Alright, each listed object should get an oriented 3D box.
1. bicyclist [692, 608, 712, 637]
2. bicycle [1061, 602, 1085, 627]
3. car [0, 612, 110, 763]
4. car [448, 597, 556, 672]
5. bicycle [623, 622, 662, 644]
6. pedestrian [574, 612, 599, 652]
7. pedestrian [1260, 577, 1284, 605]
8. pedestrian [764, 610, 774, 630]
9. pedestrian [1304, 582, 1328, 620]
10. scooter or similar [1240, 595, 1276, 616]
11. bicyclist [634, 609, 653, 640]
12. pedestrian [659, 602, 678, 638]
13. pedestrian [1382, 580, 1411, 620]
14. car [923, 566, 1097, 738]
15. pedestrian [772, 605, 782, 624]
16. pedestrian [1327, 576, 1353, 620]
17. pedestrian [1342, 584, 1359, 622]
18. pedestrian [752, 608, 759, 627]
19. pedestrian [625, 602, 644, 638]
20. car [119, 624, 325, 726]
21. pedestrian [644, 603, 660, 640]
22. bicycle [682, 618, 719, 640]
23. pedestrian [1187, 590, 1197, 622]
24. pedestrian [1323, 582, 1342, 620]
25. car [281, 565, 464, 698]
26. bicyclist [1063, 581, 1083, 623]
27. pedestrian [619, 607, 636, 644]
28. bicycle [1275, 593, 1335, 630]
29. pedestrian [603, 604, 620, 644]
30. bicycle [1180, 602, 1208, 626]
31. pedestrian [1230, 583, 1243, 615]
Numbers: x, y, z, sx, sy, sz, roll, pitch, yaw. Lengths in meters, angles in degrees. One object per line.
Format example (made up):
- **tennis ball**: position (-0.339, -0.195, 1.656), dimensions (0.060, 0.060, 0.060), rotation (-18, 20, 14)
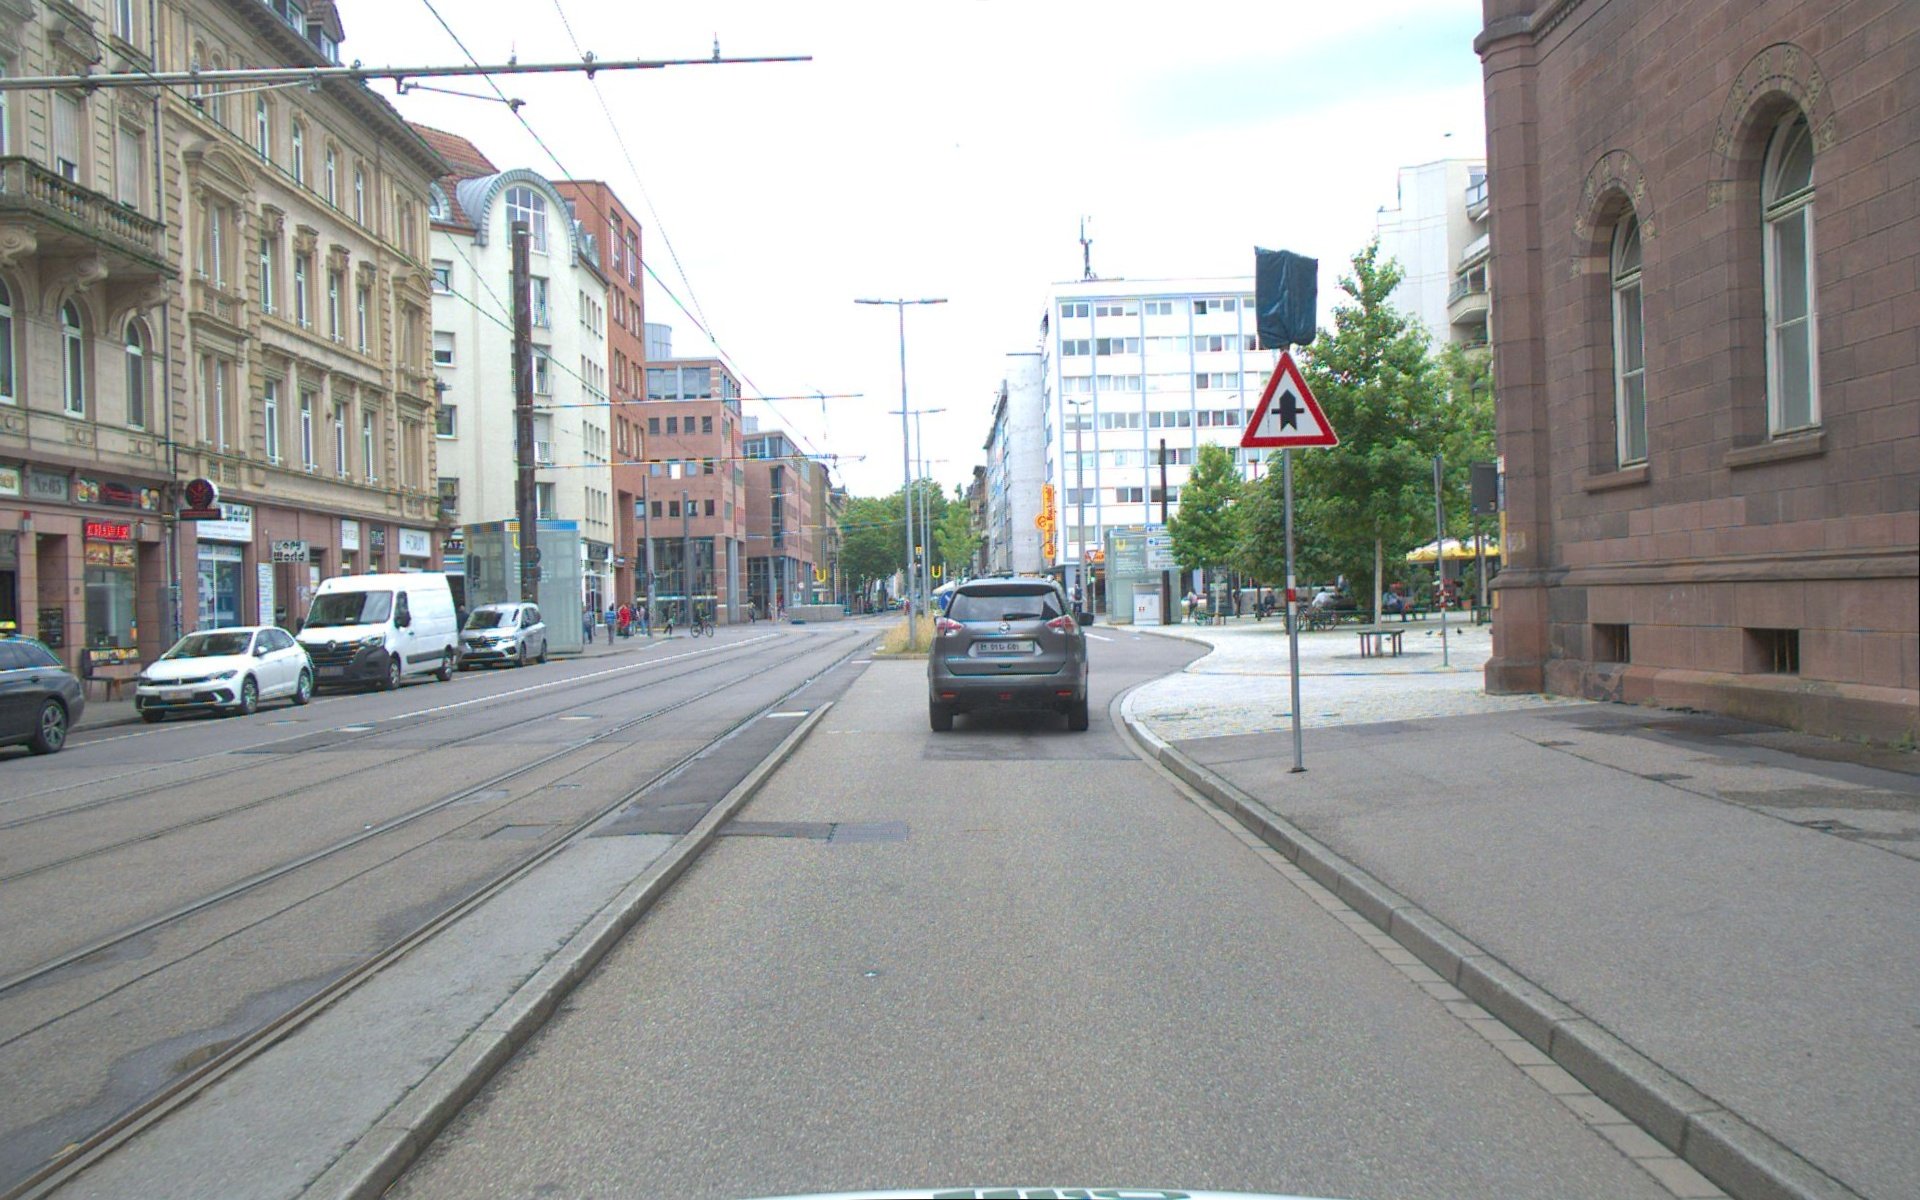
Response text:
- **bicyclist**: position (-13.084, 1.145, 83.897), dimensions (0.793, 1.431, 0.480), rotation (-3, -1, 25)
- **bicycle**: position (5.007, 0.644, 73.366), dimensions (0.883, 1.063, 3.278), rotation (-2, 0, 1)
- **car**: position (-11.919, 1.074, 18.895), dimensions (1.881, 1.718, 5.049), rotation (-4, 0, -3)
- **car**: position (-12.872, 0.930, 46.760), dimensions (1.865, 1.897, 4.518), rotation (-4, 0, -3)
- **bicycle**: position (-16.467, 1.717, 85.773), dimensions (1.867, 1.039, 0.478), rotation (-2, 0, 1)
- **pedestrian**: position (-16.422, 1.393, 72.817), dimensions (0.705, 1.716, 0.825), rotation (-3, -2, 17)
- **pedestrian**: position (15.559, -0.441, 82.389), dimensions (1.022, 1.319, 0.733), rotation (-4, -1, 4)
- **pedestrian**: position (-18.261, 1.945, 158.101), dimensions (0.723, 1.874, 0.697), rotation (-1, -1, -26)
- **pedestrian**: position (13.201, 0.028, 61.333), dimensions (0.618, 1.390, 0.684), rotation (-1, -1, -20)
- **scooter or similar**: position (14.915, 0.272, 82.701), dimensions (1.561, 0.965, 0.722), rotation (-4, -1, 37)
- **bicyclist**: position (-16.416, 1.261, 85.781), dimensions (0.793, 1.567, 0.492), rotation (-2, -1, 0)
- **pedestrian**: position (-15.491, 1.067, 87.846), dimensions (0.879, 1.923, 0.798), rotation (0, -1, -3)
- **pedestrian**: position (15.363, 0.014, 58.232), dimensions (0.615, 1.390, 1.409), rotation (-1, 0, -2)
- **car**: position (0.631, 0.510, 19.938), dimensions (1.824, 1.805, 4.569), rotation (-1, 1, 2)
- **pedestrian**: position (-17.721, 1.395, 160.467), dimensions (0.685, 1.874, 0.735), rotation (-1, -1, 16)
- **pedestrian**: position (16.262, -0.081, 70.727), dimensions (0.699, 1.833, 1.077), rotation (-4, -1, -2)
- **pedestrian**: position (14.589, 0.103, 61.819), dimensions (0.531, 1.390, 1.281), rotation (-1, 0, 16)
- **pedestrian**: position (-17.215, 1.483, 139.142), dimensions (0.442, 1.559, 0.519), rotation (-1, -1, -19)
- **pedestrian**: position (-16.193, 0.985, 82.242), dimensions (0.854, 1.716, 0.659), rotation (-2, -2, -16)
- **car**: position (-12.576, 1.221, 28.469), dimensions (1.736, 1.447, 4.163), rotation (-4, 0, -3)
- **pedestrian**: position (-14.570, 1.011, 78.196), dimensions (0.649, 1.716, 0.720), rotation (-2, -2, -14)
- **bicycle**: position (-13.163, 1.485, 83.936), dimensions (1.867, 1.039, 0.480), rotation (-3, -1, 24)
- **pedestrian**: position (11.562, 0.292, 82.401), dimensions (0.424, 1.583, 0.499), rotation (-1, -1, -1)
- **pedestrian**: position (13.896, 0.038, 61.634), dimensions (0.614, 1.390, 0.920), rotation (-1, -1, 16)
- **car**: position (-12.726, 0.640, 36.288), dimensions (2.012, 2.530, 5.663), rotation (-4, 0, -2)
- **bicyclist**: position (5.012, 0.076, 73.320), dimensions (0.817, 1.844, 0.878), rotation (-1, -1, 1)
- **pedestrian**: position (-15.503, 1.185, 77.151), dimensions (0.708, 1.716, 0.660), rotation (-2, -2, -12)
- **bicycle**: position (11.116, 0.365, 53.343), dimensions (1.873, 1.142, 0.646), rotation (-1, 0, 10)
- **pedestrian**: position (-15.350, 1.051, 72.776), dimensions (0.648, 1.716, 0.721), rotation (-2, -2, -10)
- **bicycle**: position (10.181, 0.599, 71.818), dimensions (0.645, 0.995, 1.752), rotation (-2, 0, 27)
- **pedestrian**: position (15.531, -0.060, 92.807), dimensions (0.657, 1.792, 0.642), rotation (-1, -1, 14)
